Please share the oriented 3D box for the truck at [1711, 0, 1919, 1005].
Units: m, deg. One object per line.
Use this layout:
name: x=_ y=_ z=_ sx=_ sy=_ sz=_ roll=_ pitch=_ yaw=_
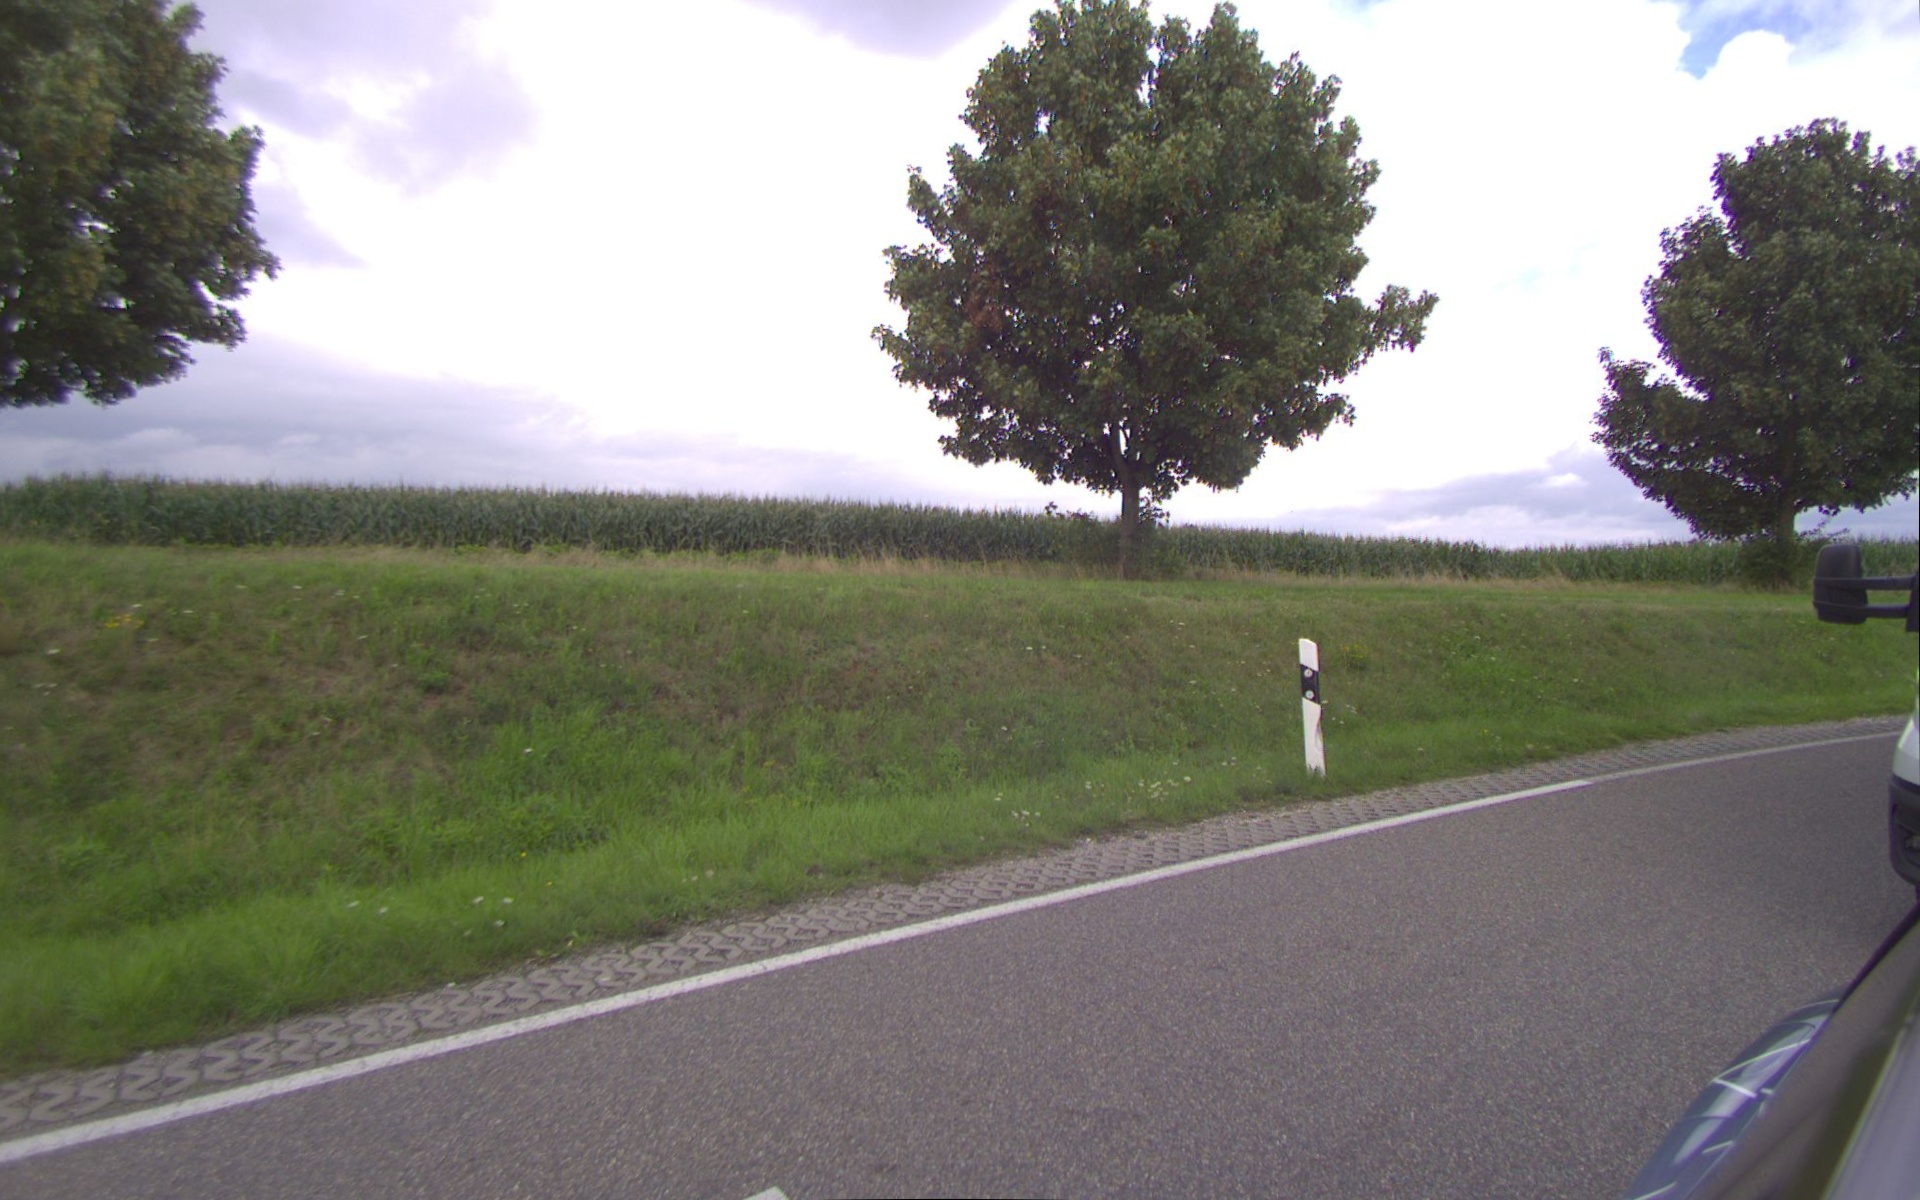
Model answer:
truck: x=7.417 y=-0.551 z=5.136 sx=8.628 sy=3.810 sz=2.841 roll=-1 pitch=2 yaw=-32
